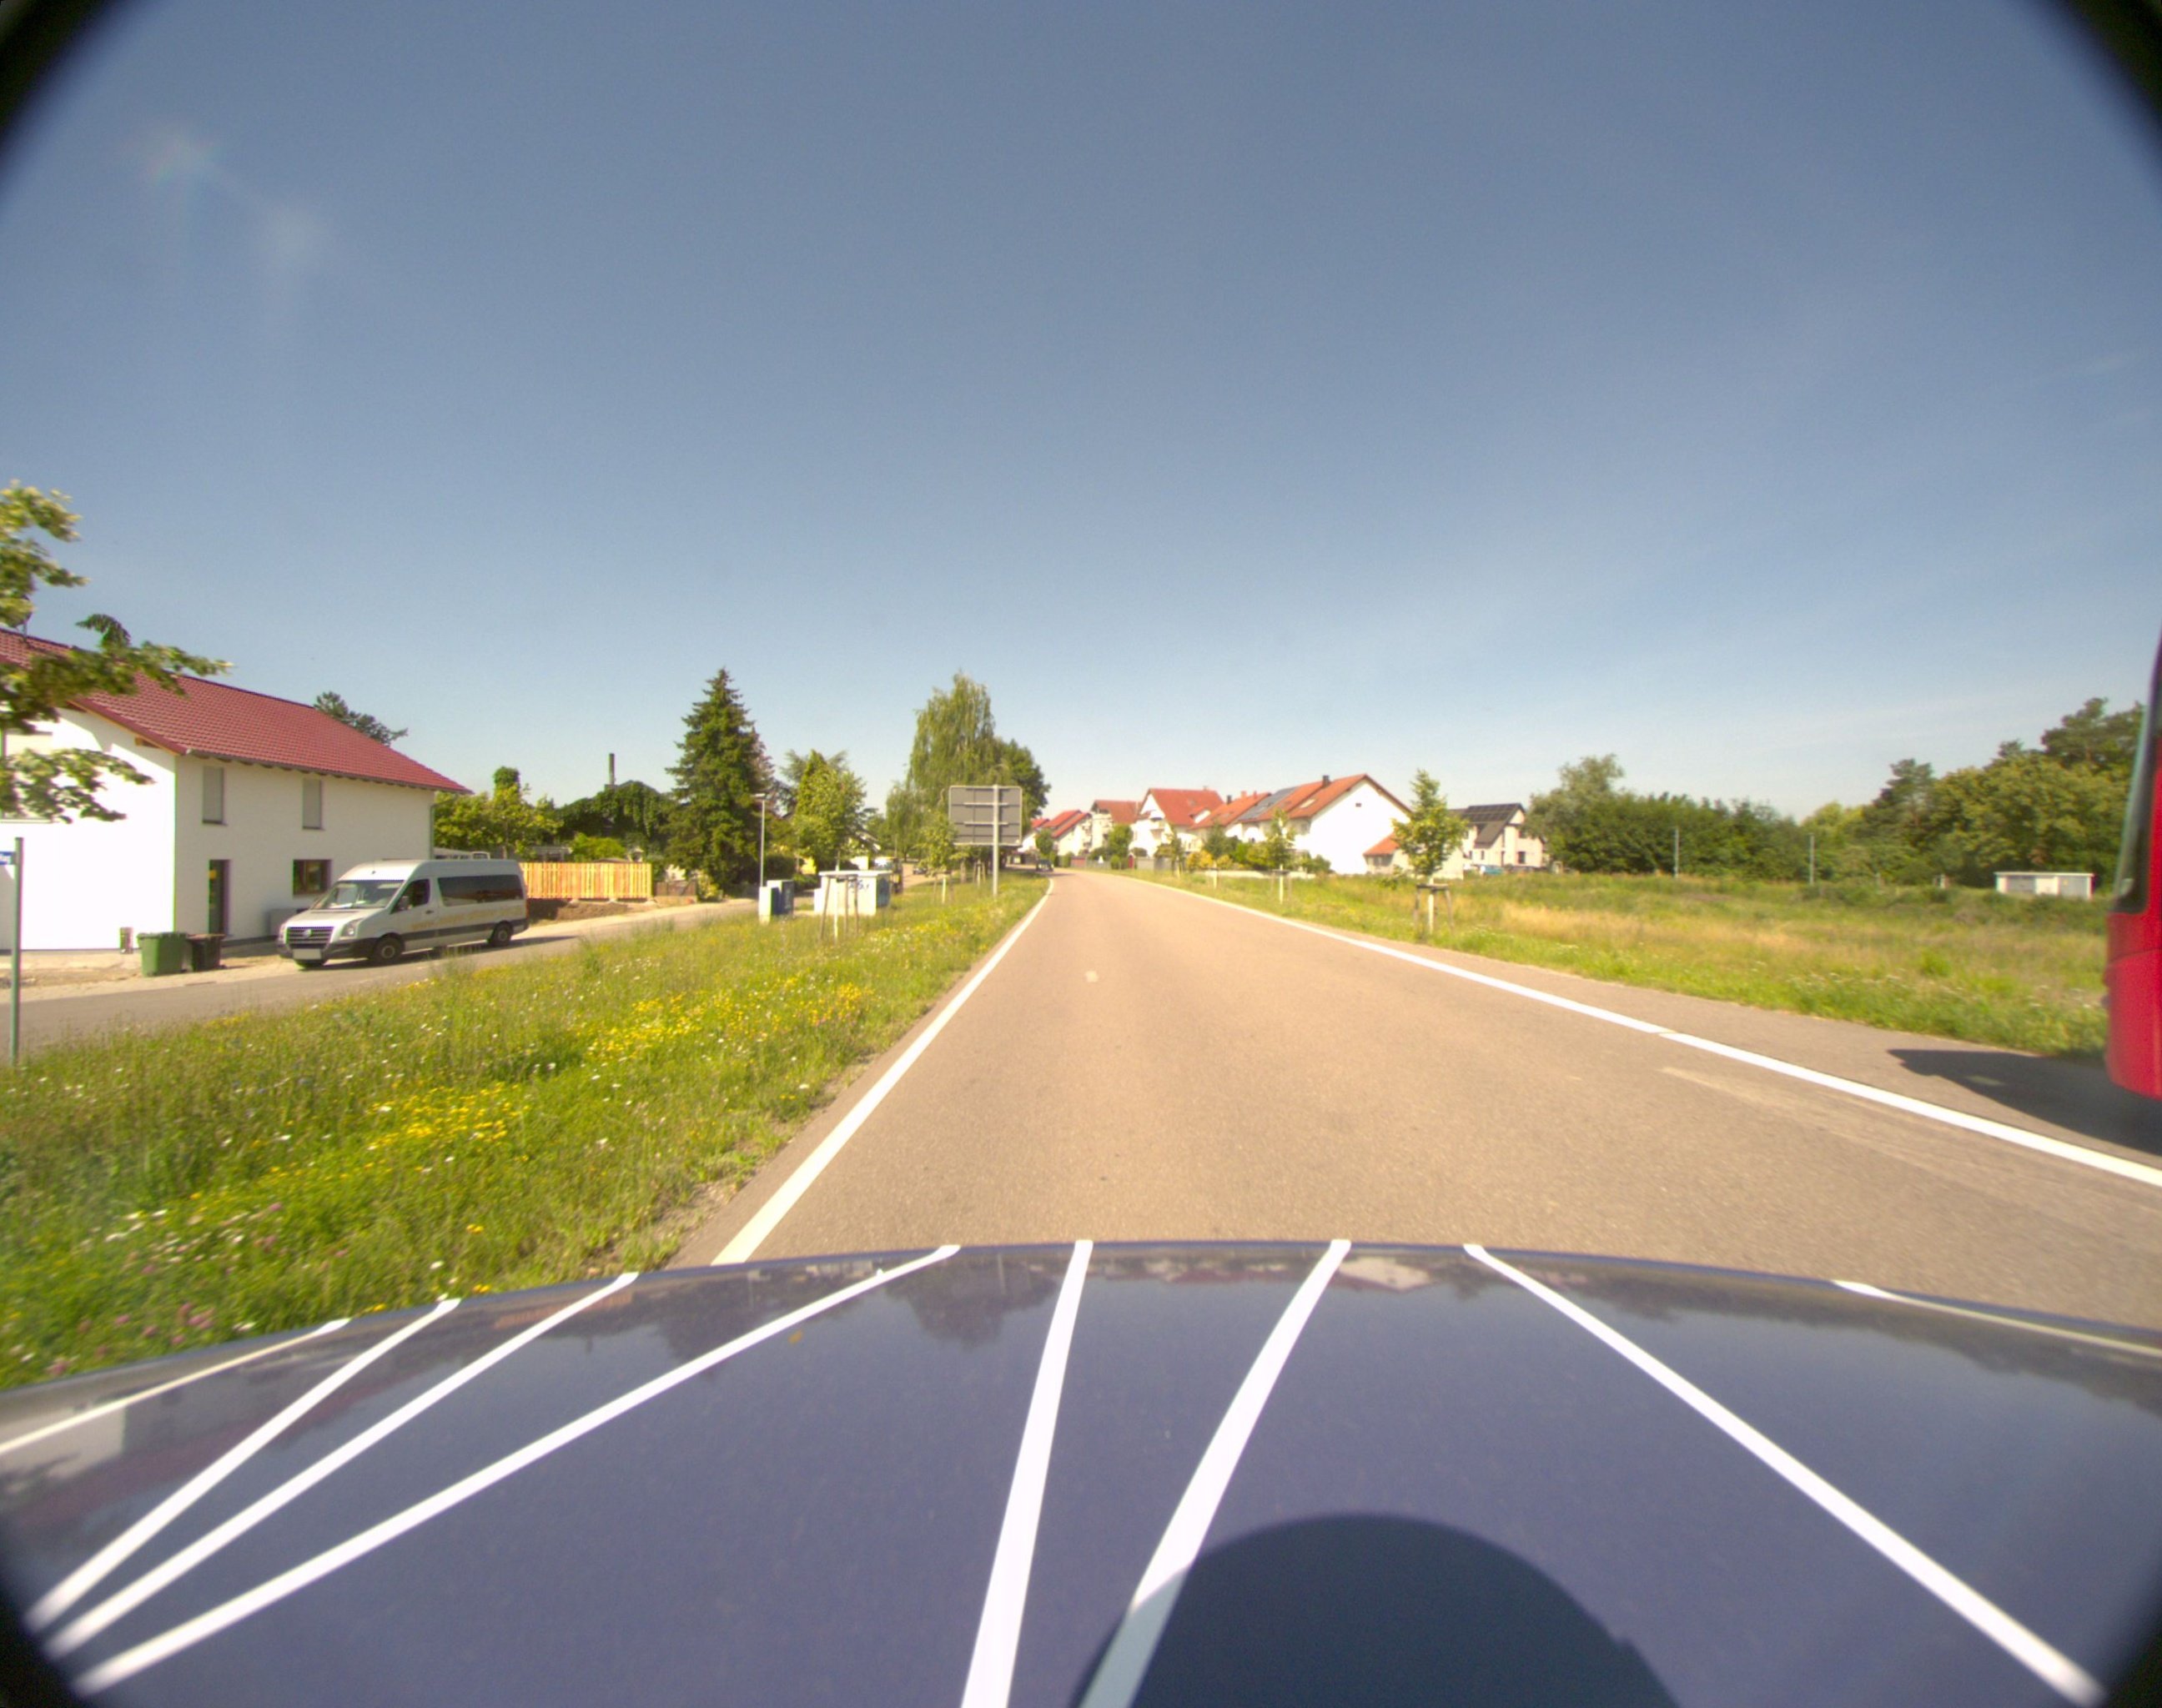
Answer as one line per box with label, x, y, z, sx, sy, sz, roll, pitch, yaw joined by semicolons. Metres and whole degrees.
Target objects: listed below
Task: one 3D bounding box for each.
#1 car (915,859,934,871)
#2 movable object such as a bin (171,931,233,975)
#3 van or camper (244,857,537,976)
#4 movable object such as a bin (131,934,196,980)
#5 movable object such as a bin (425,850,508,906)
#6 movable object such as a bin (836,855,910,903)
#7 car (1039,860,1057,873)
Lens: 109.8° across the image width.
car;-20.592;1.479;100.032;1.863;1.437;4.167;-2;1;-4
movable object such as a bin;-20.403;2.284;17.644;0.694;0.932;0.639;0;0;5
van or camper;-17.735;1.434;20.162;2.177;2.586;6.030;-1;1;0
movable object such as a bin;-20.454;2.291;16.953;0.694;0.932;0.639;0;0;5
movable object such as a bin;-29.235;1.099;36.258;2.884;2.542;1.783;-1;0;-33
movable object such as a bin;-11.835;1.334;43.926;2.322;2.449;6.944;-1;0;0
car;-4.265;1.581;97.579;1.935;1.552;3.997;1;0;-8
